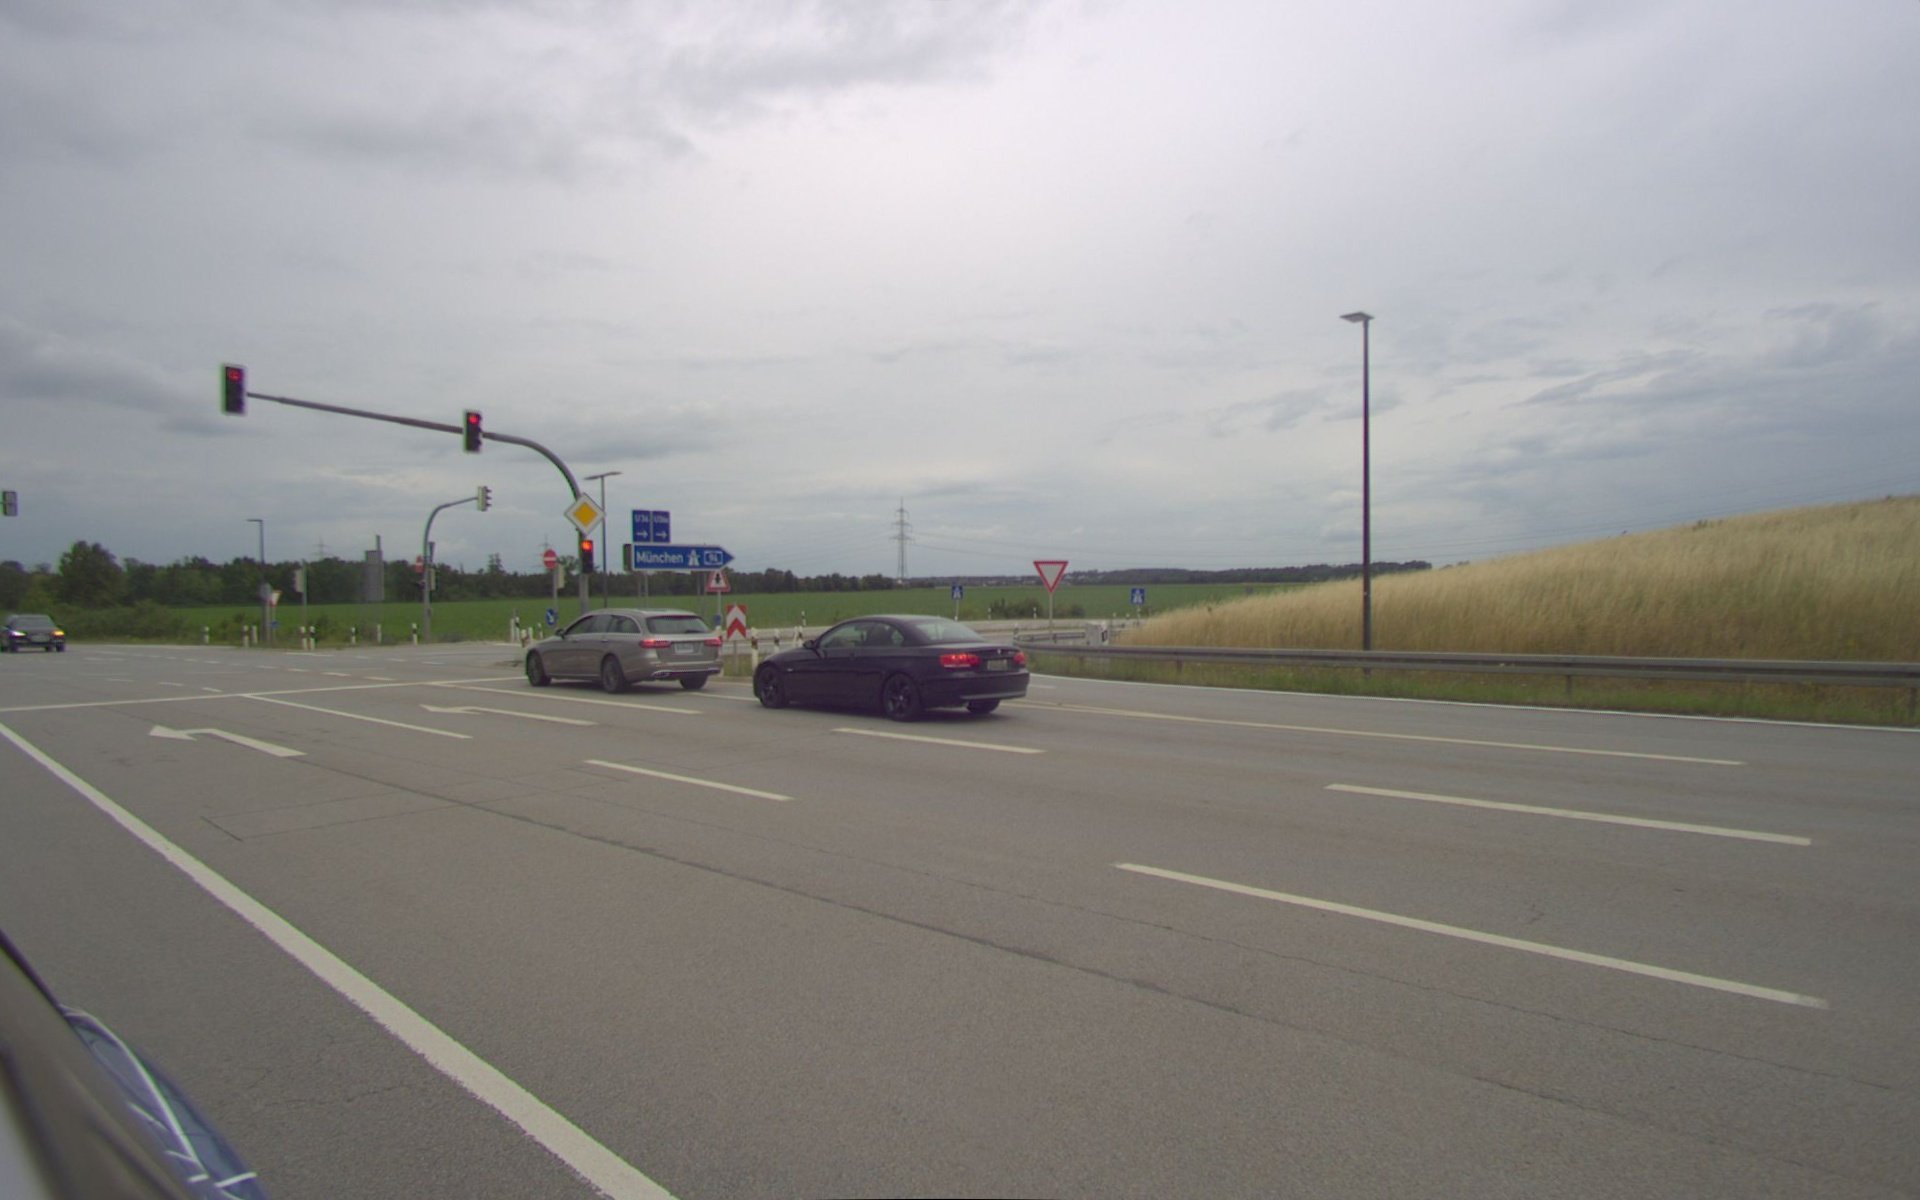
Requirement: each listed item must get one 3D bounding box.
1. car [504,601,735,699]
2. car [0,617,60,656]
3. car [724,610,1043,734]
[{"bbox_3d":[-6.513,0.885,19.075,4.946,1.622,1.895,-1,-2,41],"label":"car"},{"bbox_3d":[-43.742,1.661,47.560,1.970,1.696,5.003,-1,0,-44],"label":"car"},{"bbox_3d":[-1.212,0.876,14.217,4.672,1.421,1.689,0,1,41],"label":"car"}]
